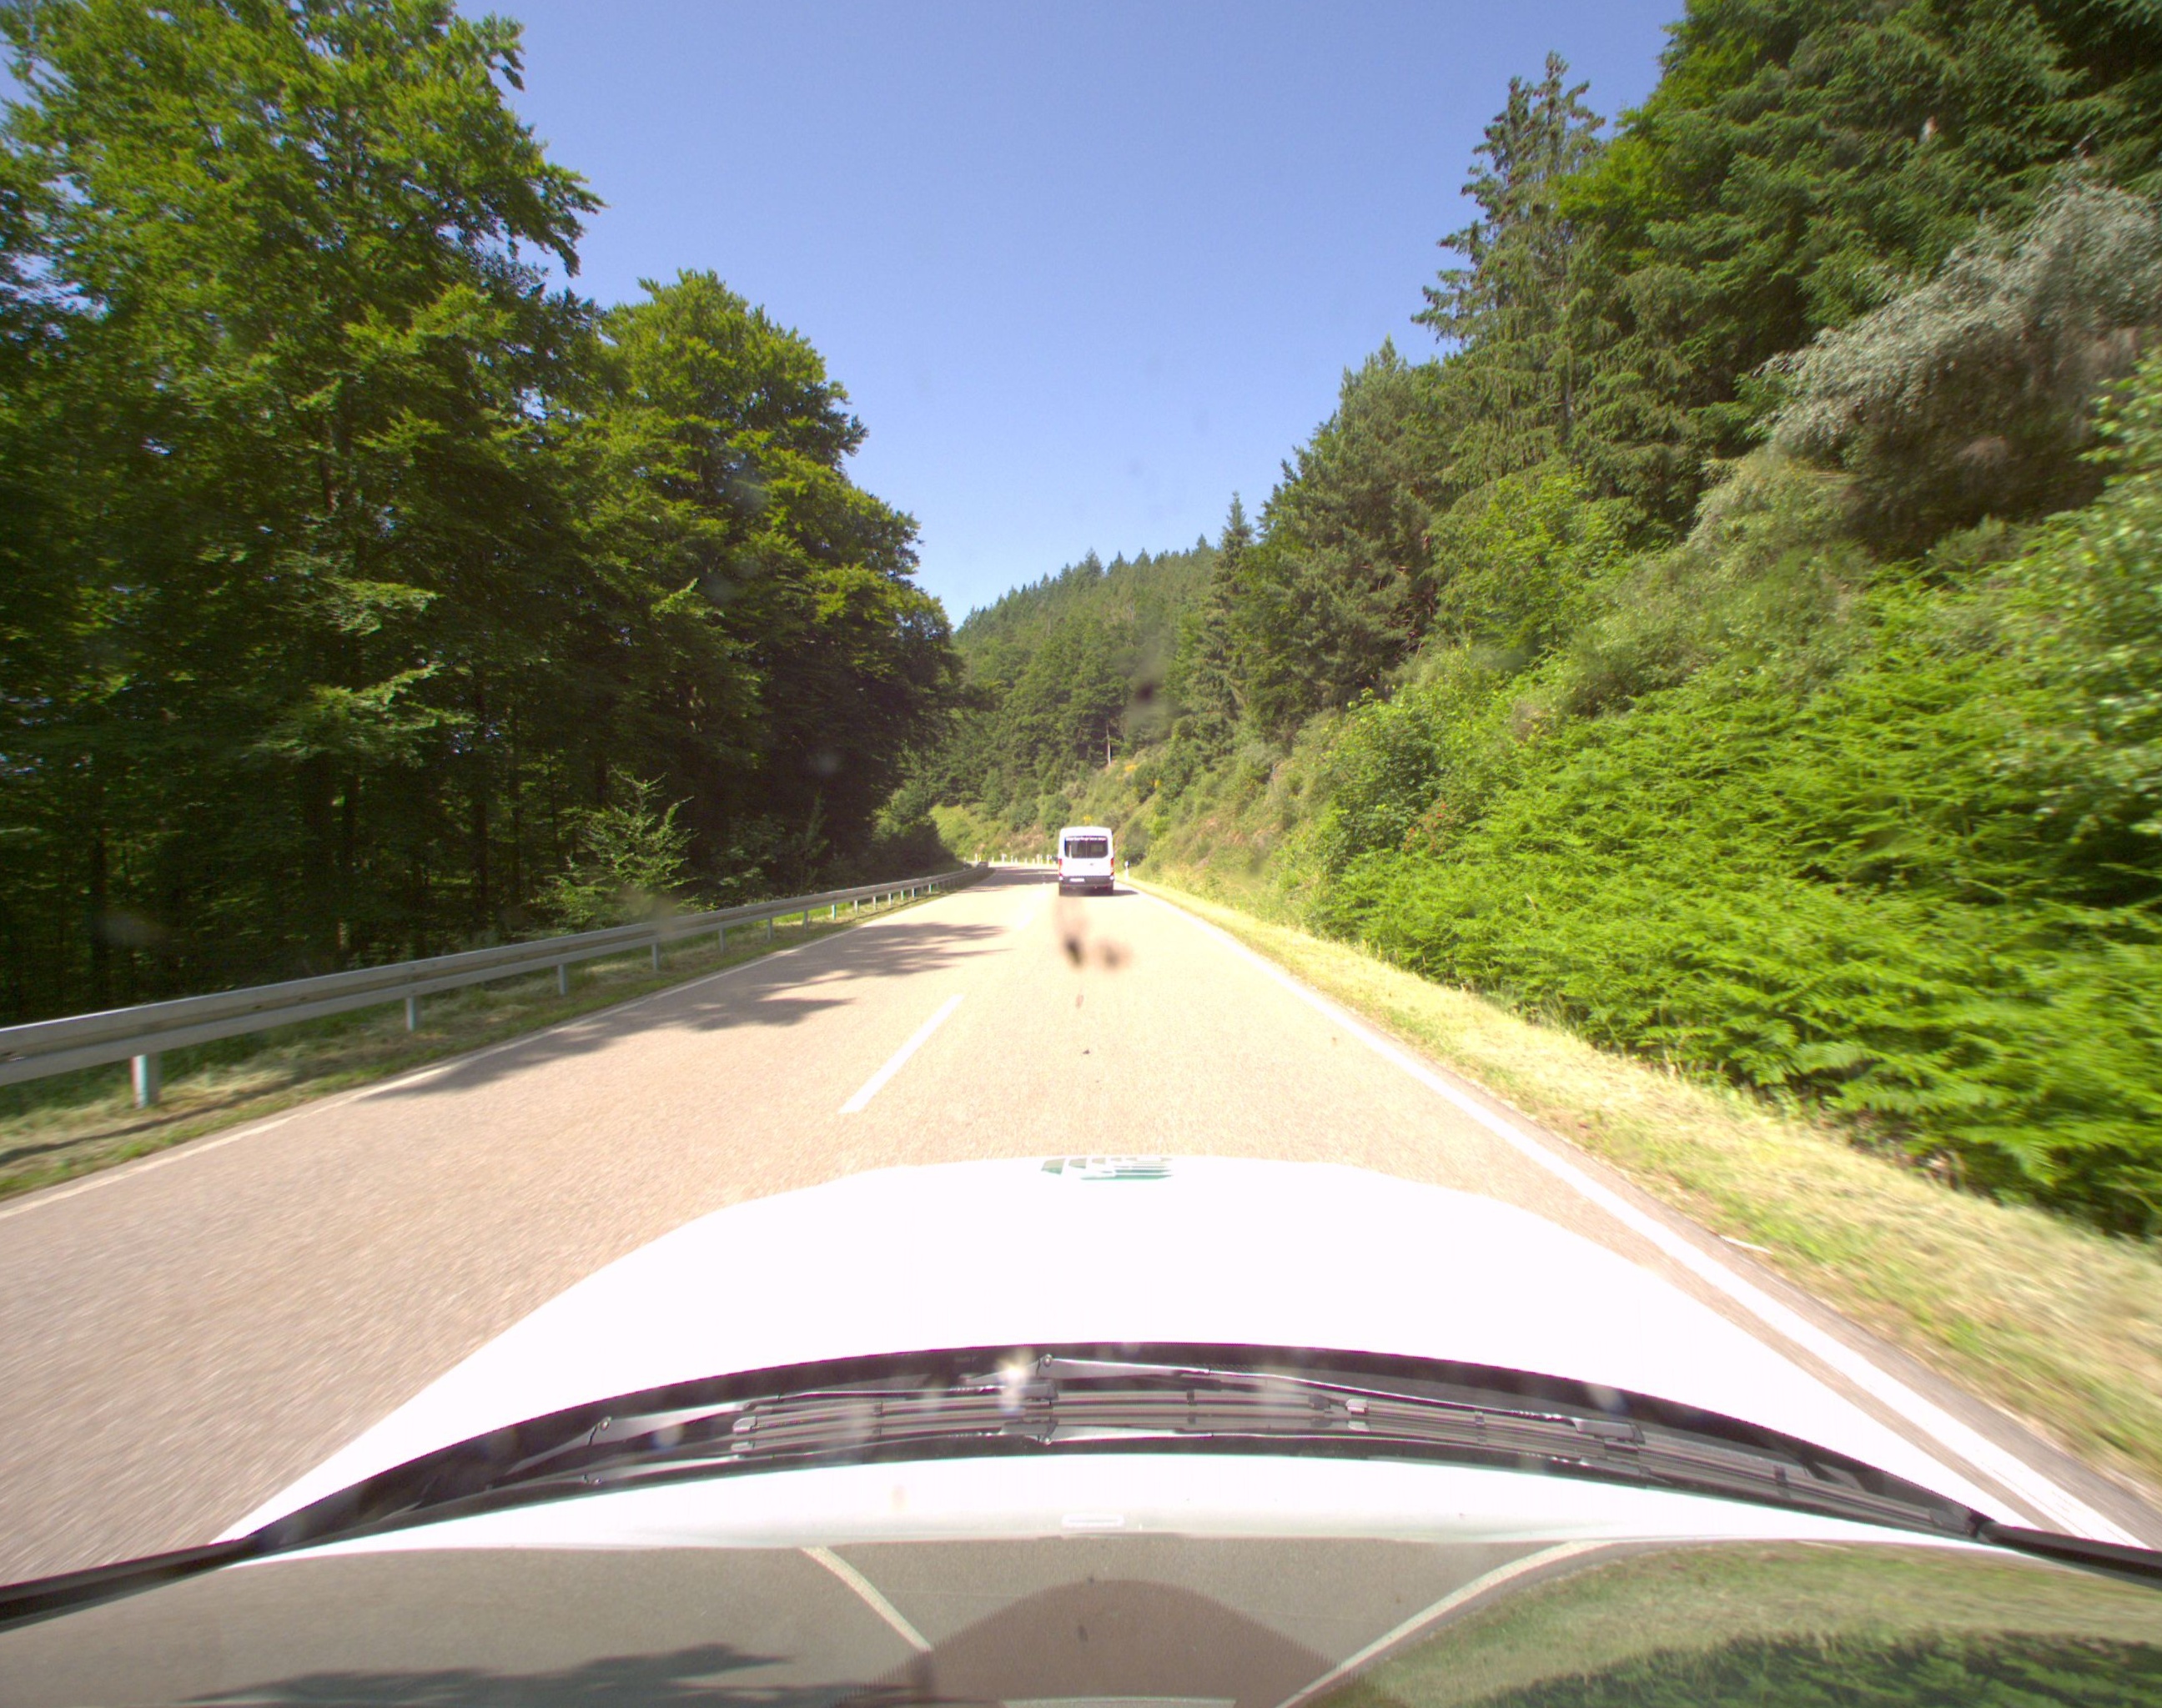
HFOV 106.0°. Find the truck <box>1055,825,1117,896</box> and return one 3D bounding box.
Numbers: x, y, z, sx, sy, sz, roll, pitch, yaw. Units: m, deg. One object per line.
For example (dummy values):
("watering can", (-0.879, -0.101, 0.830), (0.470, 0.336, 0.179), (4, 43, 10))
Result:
("truck", (0.093, 0.241, 30.880), (2.078, 2.460, 4.870), (-1, 0, -2))
